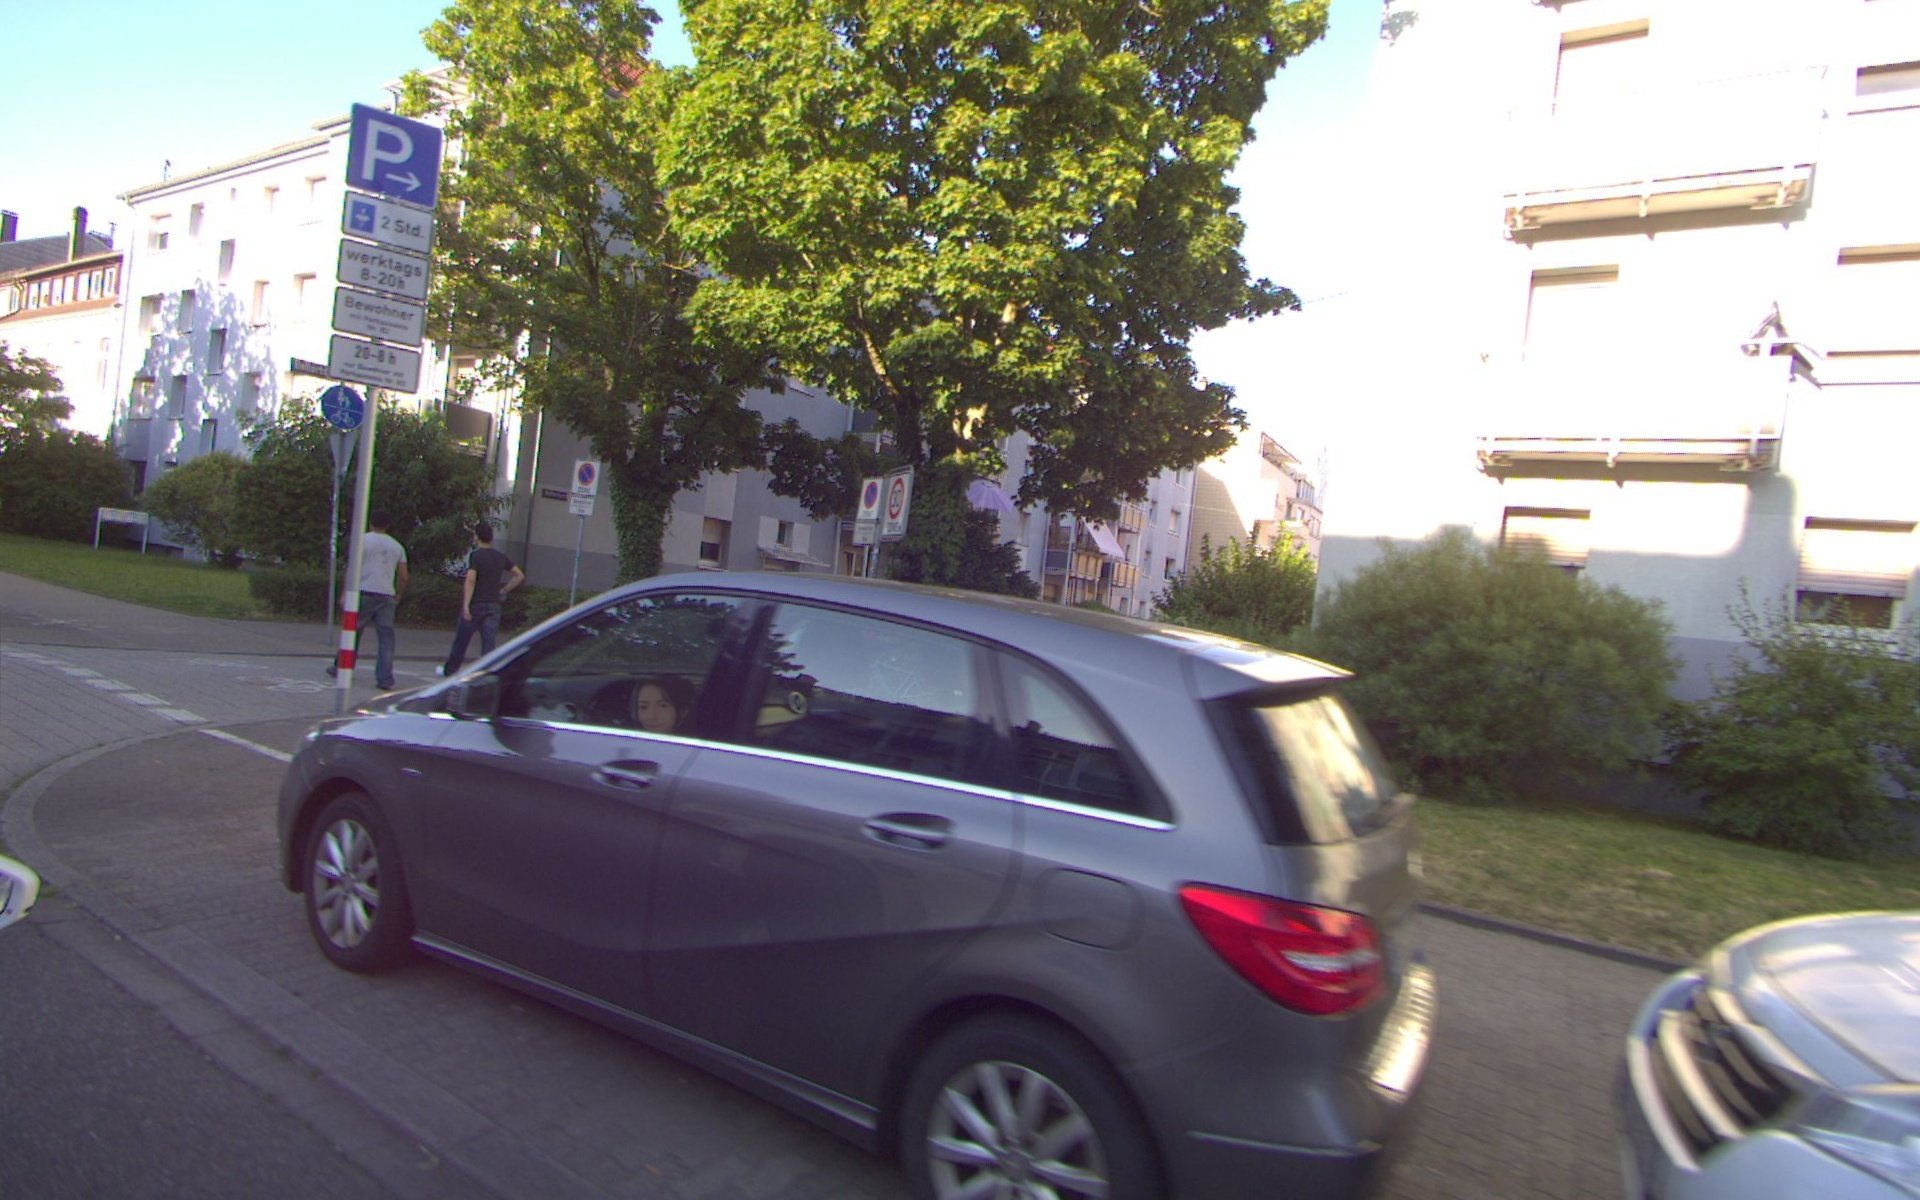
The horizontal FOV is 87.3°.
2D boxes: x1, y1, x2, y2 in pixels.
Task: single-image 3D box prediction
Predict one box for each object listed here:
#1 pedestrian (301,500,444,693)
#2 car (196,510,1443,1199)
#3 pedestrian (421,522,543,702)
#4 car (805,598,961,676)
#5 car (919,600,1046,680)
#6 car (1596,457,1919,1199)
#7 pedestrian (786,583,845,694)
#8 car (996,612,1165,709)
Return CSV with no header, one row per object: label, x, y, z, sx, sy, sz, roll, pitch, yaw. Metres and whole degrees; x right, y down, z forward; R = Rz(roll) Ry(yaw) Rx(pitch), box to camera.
pedestrian,-6.187,-0.040,10.596,1.050,1.884,0.749,7,1,31
car,-0.692,0.684,3.656,4.179,1.577,1.756,7,1,30
pedestrian,-5.347,0.133,11.243,0.938,1.884,0.797,7,1,43
car,-1.832,0.977,25.327,1.701,1.478,4.167,7,-2,31
car,0.755,1.252,29.971,1.730,1.900,4.248,7,-2,31
car,3.510,0.995,1.230,4.348,1.829,1.804,7,-2,30
pedestrian,-2.426,0.624,16.839,0.787,1.743,0.742,6,1,-9
car,2.588,1.307,20.704,1.730,1.574,4.248,7,-2,31
